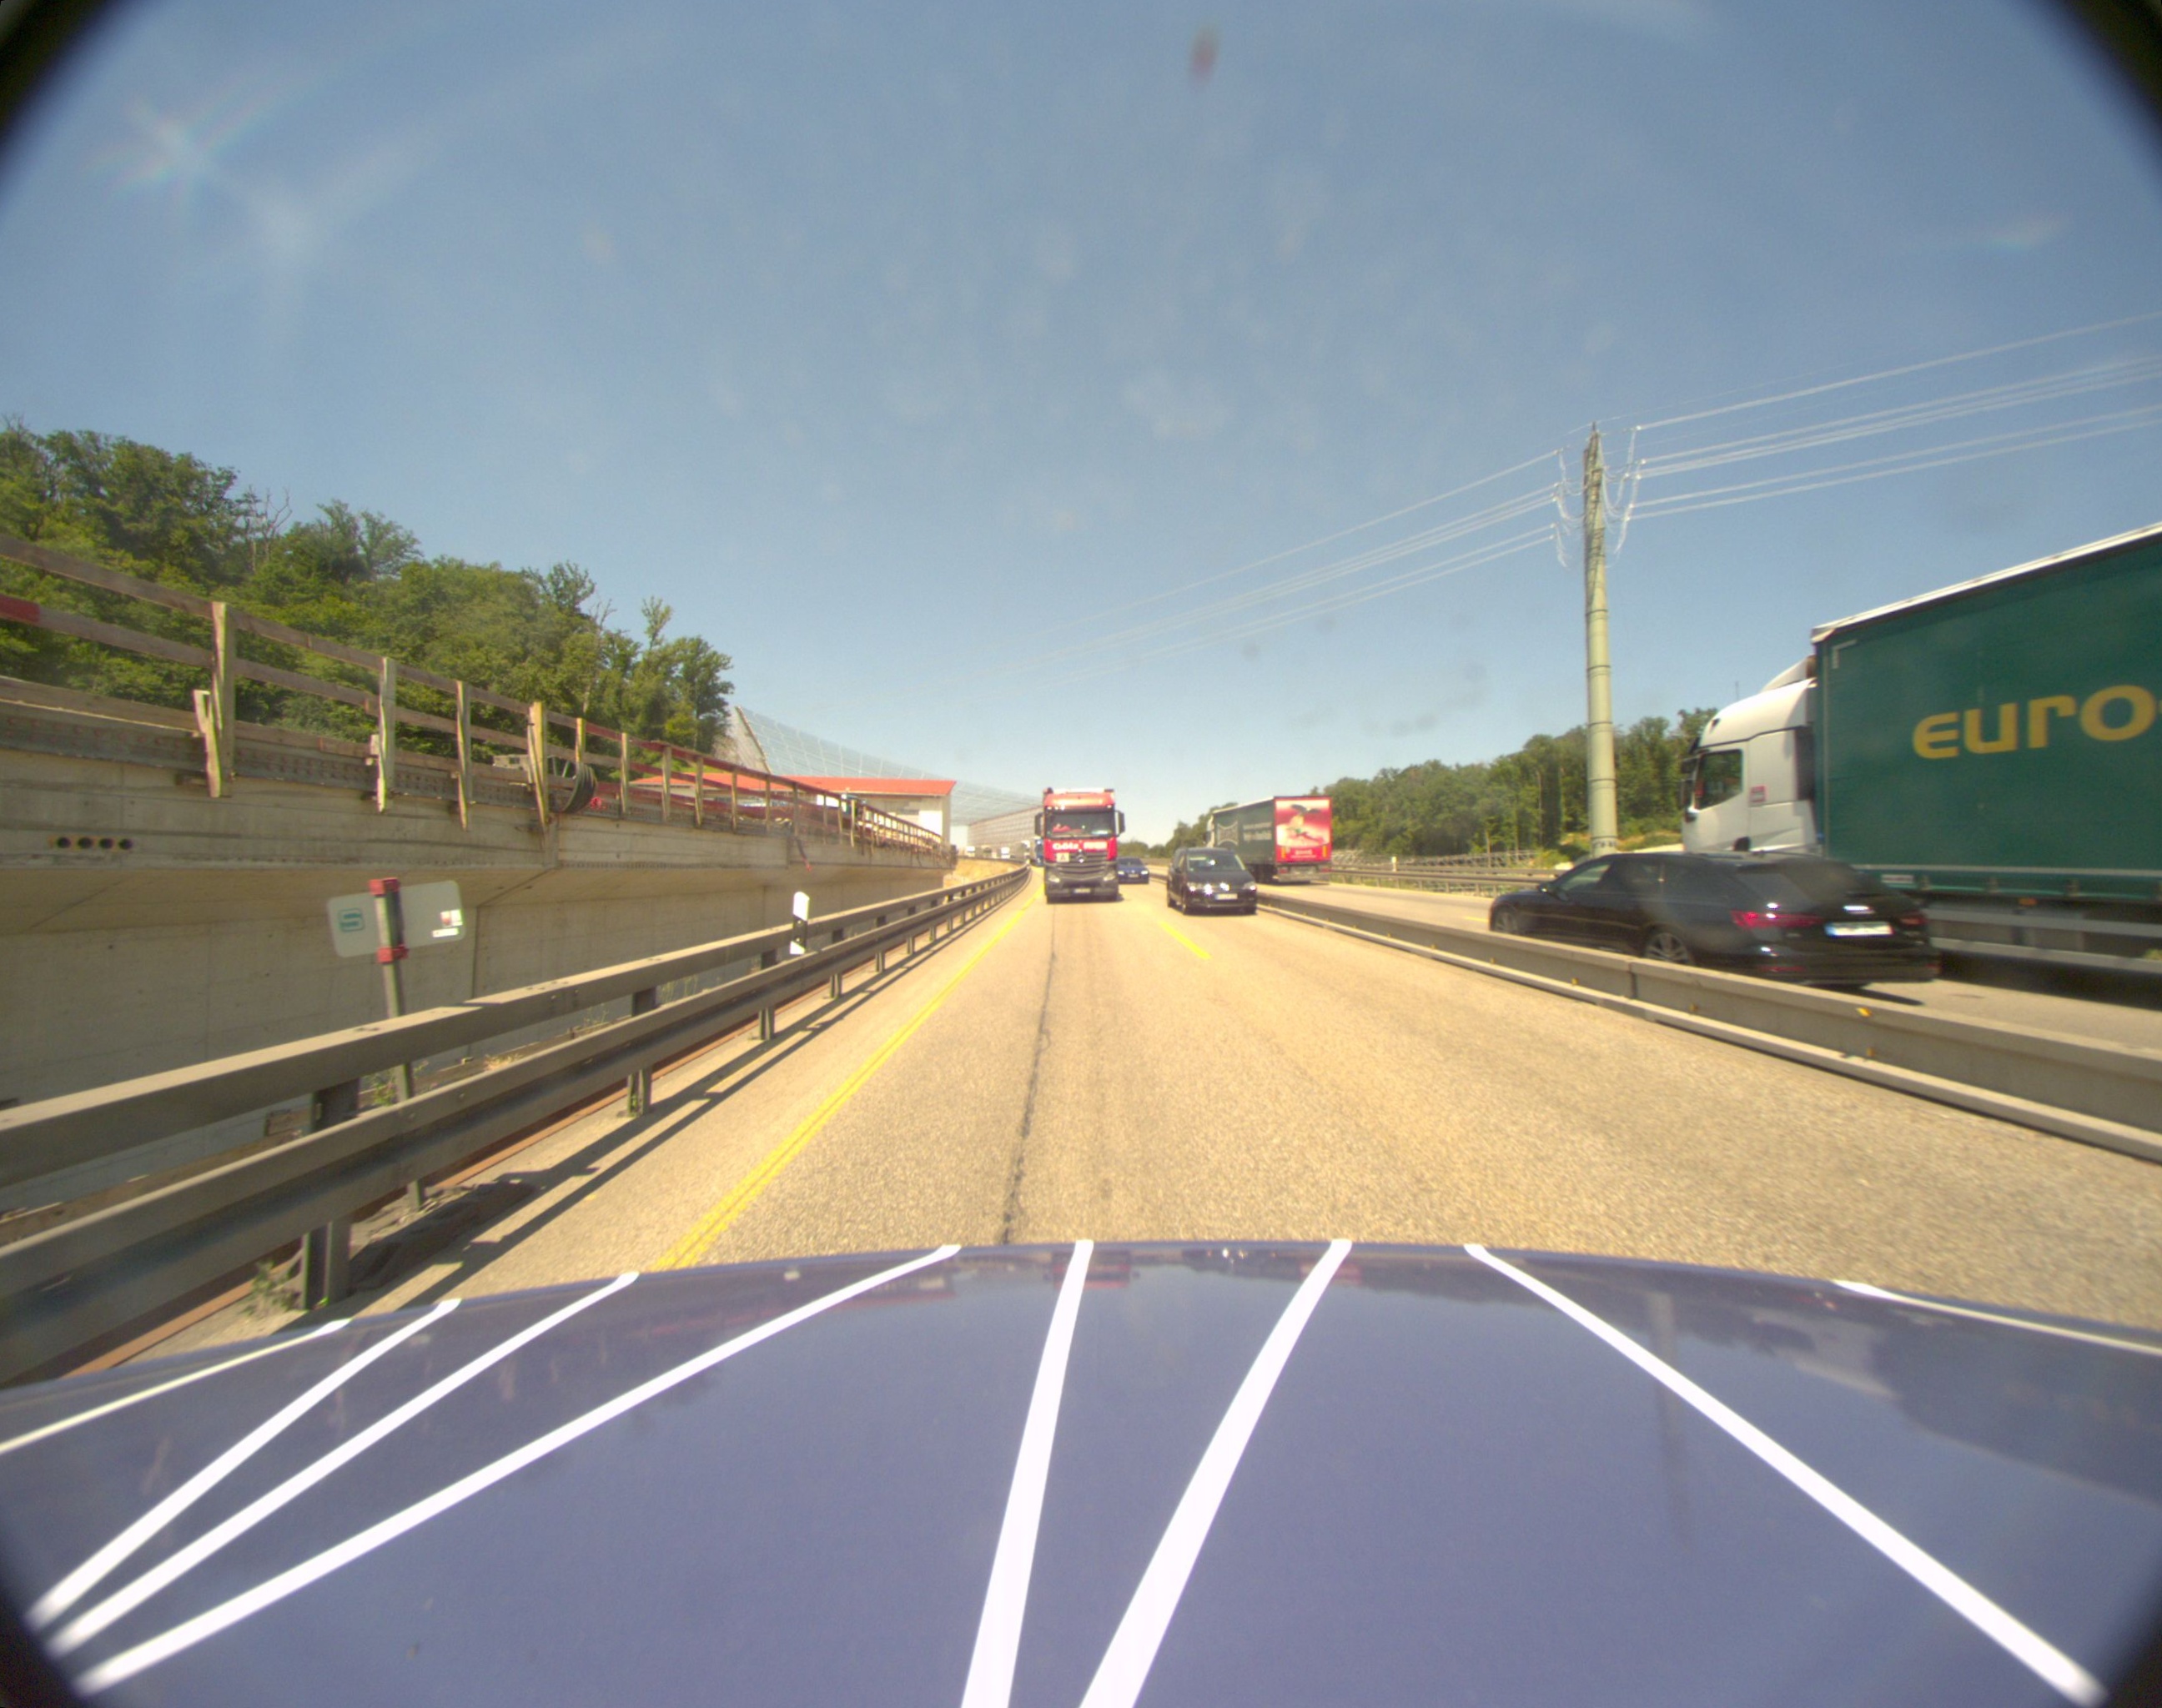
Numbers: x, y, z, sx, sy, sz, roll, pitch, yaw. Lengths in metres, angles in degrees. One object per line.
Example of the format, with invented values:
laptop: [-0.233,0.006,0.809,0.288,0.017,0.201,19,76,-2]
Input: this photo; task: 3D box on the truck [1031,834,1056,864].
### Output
truck: [-5.483,-0.788,108.918,2.673,3.986,10.420,-2,1,-7]

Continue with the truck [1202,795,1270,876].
truck: [9.684,-1.117,47.901,3.069,4.793,4.644,-1,0,-2]

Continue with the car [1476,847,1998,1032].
car: [6.724,0.702,8.737,1.906,1.454,4.756,-2,1,0]

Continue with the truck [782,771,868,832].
truck: [-17.868,-3.549,53.419,2.713,3.672,5.721,-1,-2,21]

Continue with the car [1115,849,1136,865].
car: [4.886,0.271,83.706,1.998,1.630,4.852,-2,1,0]

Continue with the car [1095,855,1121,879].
car: [2.201,1.048,62.169,1.946,1.858,5.224,-1,0,2]

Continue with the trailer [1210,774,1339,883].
trailer: [9.810,-1.125,40.769,3.072,4.787,14.000,-1,0,-1]

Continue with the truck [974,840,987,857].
truck: [-29.252,-1.616,220.667,3.044,4.778,8.932,-2,1,-10]

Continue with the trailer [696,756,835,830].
trailer: [-19.735,-3.666,48.383,2.713,3.672,9.012,-1,-2,21]

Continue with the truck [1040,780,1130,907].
truck: [-0.031,-0.427,29.448,2.799,3.986,10.425,-2,1,-2]

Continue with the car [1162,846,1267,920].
car: [3.421,0.699,20.576,1.861,1.695,5.303,-1,0,0]

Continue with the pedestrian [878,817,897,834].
pedestrian: [-13.469,-2.006,52.957,1.022,1.144,0.994,-1,1,3]

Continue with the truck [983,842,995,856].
truck: [-28.077,-1.502,231.019,3.044,4.033,8.666,-2,1,-10]

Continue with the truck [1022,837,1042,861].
truck: [-9.178,-0.907,141.234,2.912,4.208,9.232,-2,1,-9]

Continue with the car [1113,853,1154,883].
car: [2.826,0.736,41.844,1.896,1.546,4.786,-1,0,0]

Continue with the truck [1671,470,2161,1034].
truck: [10.158,-0.889,8.341,2.854,4.554,5.786,-2,1,0]

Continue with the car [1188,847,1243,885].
car: [6.299,0.536,36.003,1.962,1.671,4.113,-1,0,1]
